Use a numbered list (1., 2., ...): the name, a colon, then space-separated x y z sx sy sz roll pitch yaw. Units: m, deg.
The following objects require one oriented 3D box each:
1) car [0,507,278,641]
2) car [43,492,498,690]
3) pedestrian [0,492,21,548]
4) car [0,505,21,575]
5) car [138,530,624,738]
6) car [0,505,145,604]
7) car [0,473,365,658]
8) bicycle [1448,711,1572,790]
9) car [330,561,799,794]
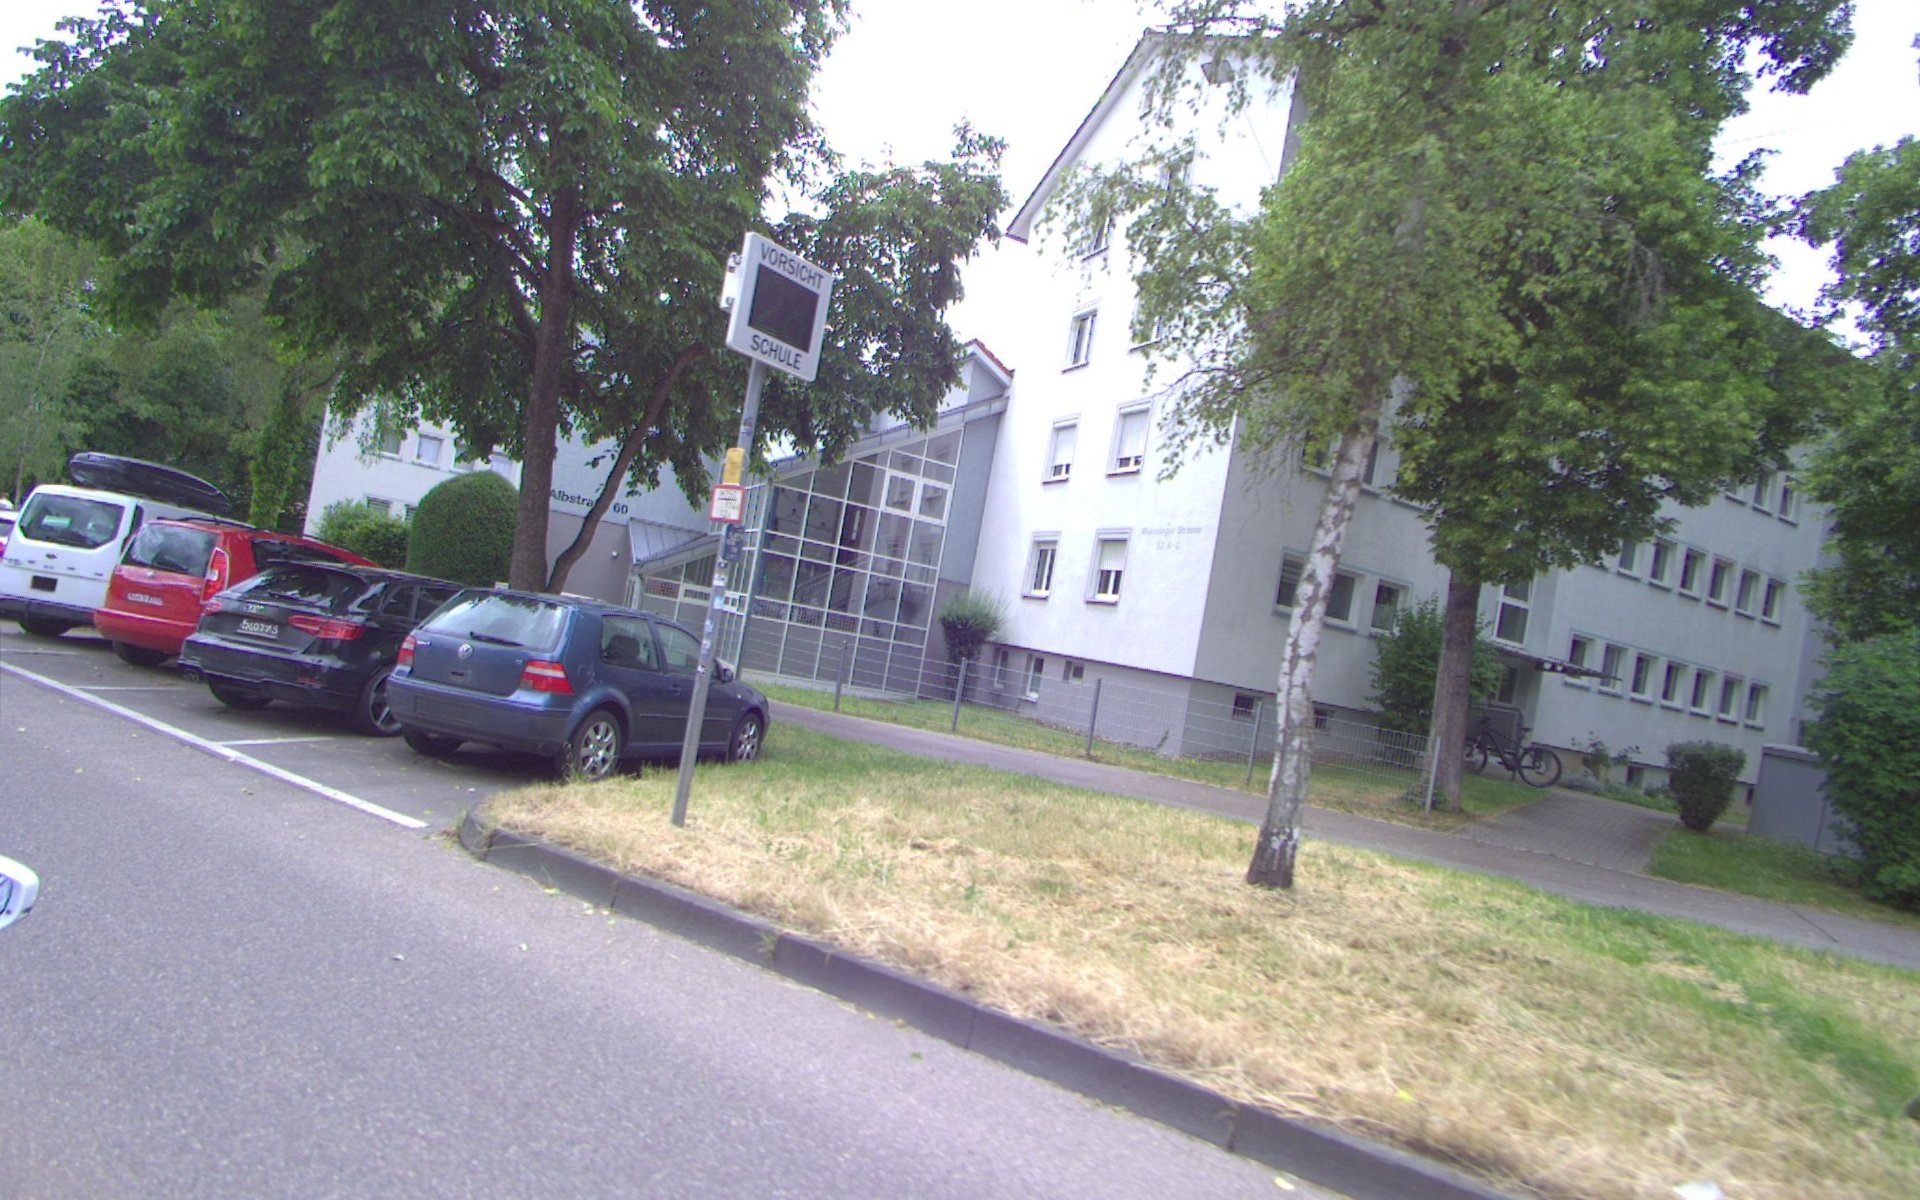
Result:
1. car: -12.830 -0.393 14.985 1.882 1.464 3.988 8 -4 17
2. car: -7.773 0.056 11.905 1.849 1.636 4.019 8 -4 16
3. pedestrian: -30.313 -2.552 31.771 0.732 1.690 0.650 7 -2 37
4. car: -21.611 -1.563 19.988 1.809 1.464 3.905 8 -3 8
5. car: -5.341 0.457 10.029 1.723 1.420 4.050 8 -4 14
6. car: -17.213 -0.965 17.825 1.809 1.464 3.906 8 -4 12
7. car: -10.247 -0.295 13.360 1.753 1.772 4.108 9 -4 5
8. bicycle: 10.349 2.828 19.001 1.894 1.089 0.541 9 -3 25
9. car: -3.217 0.757 9.174 1.723 1.420 3.987 8 -4 17
